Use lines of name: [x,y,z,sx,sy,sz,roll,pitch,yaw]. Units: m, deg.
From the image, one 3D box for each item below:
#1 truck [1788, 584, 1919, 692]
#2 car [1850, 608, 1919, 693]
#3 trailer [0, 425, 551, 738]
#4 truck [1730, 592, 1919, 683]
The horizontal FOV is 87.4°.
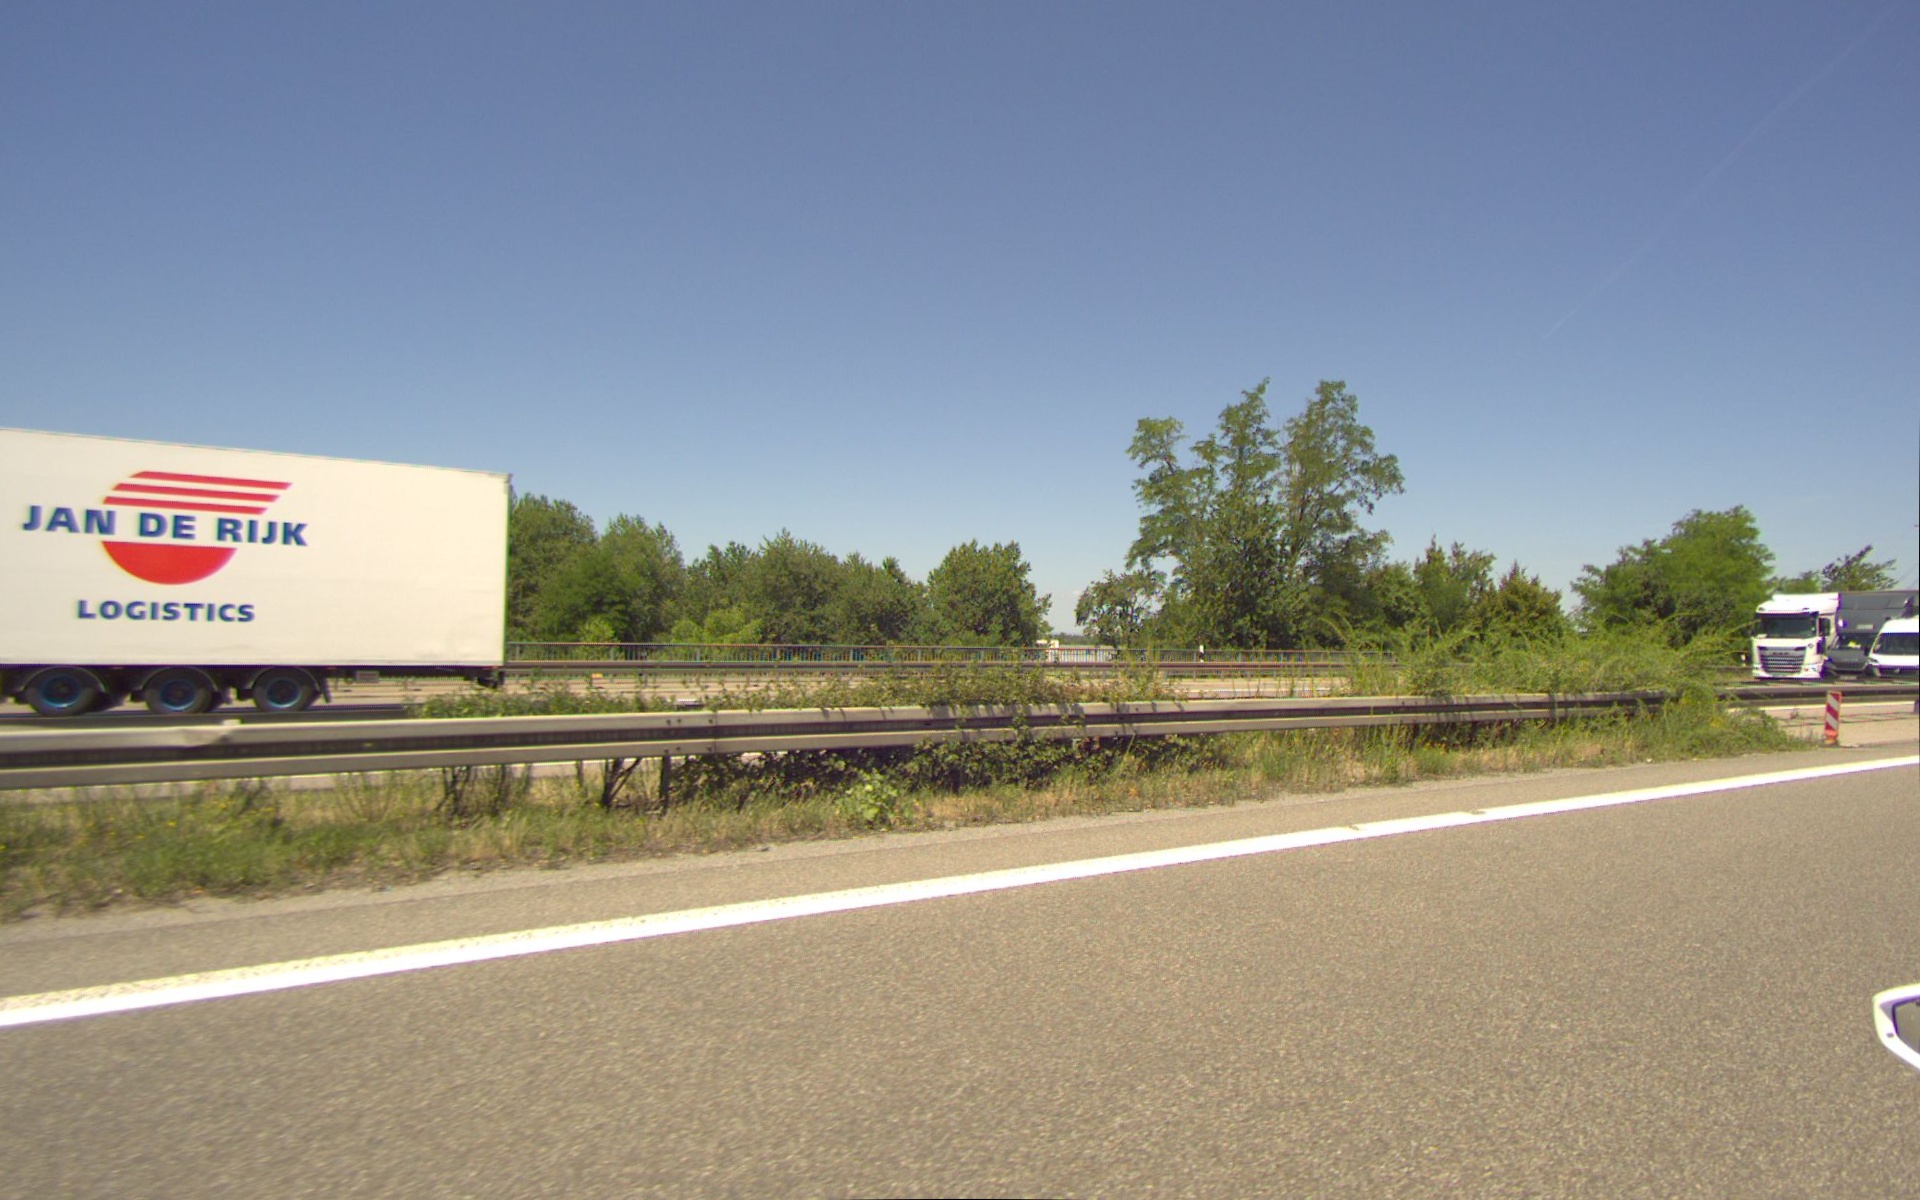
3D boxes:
truck: [37.450,1.530,40.679,9.381,3.971,2.843,2,0,-30]
car: [31.814,1.649,32.981,5.967,2.618,2.159,2,-2,-30]
trailer: [-13.695,-0.258,14.920,13.791,4.262,2.729,2,0,-32]
truck: [43.052,1.852,48.300,16.809,3.853,3.229,2,0,-30]
